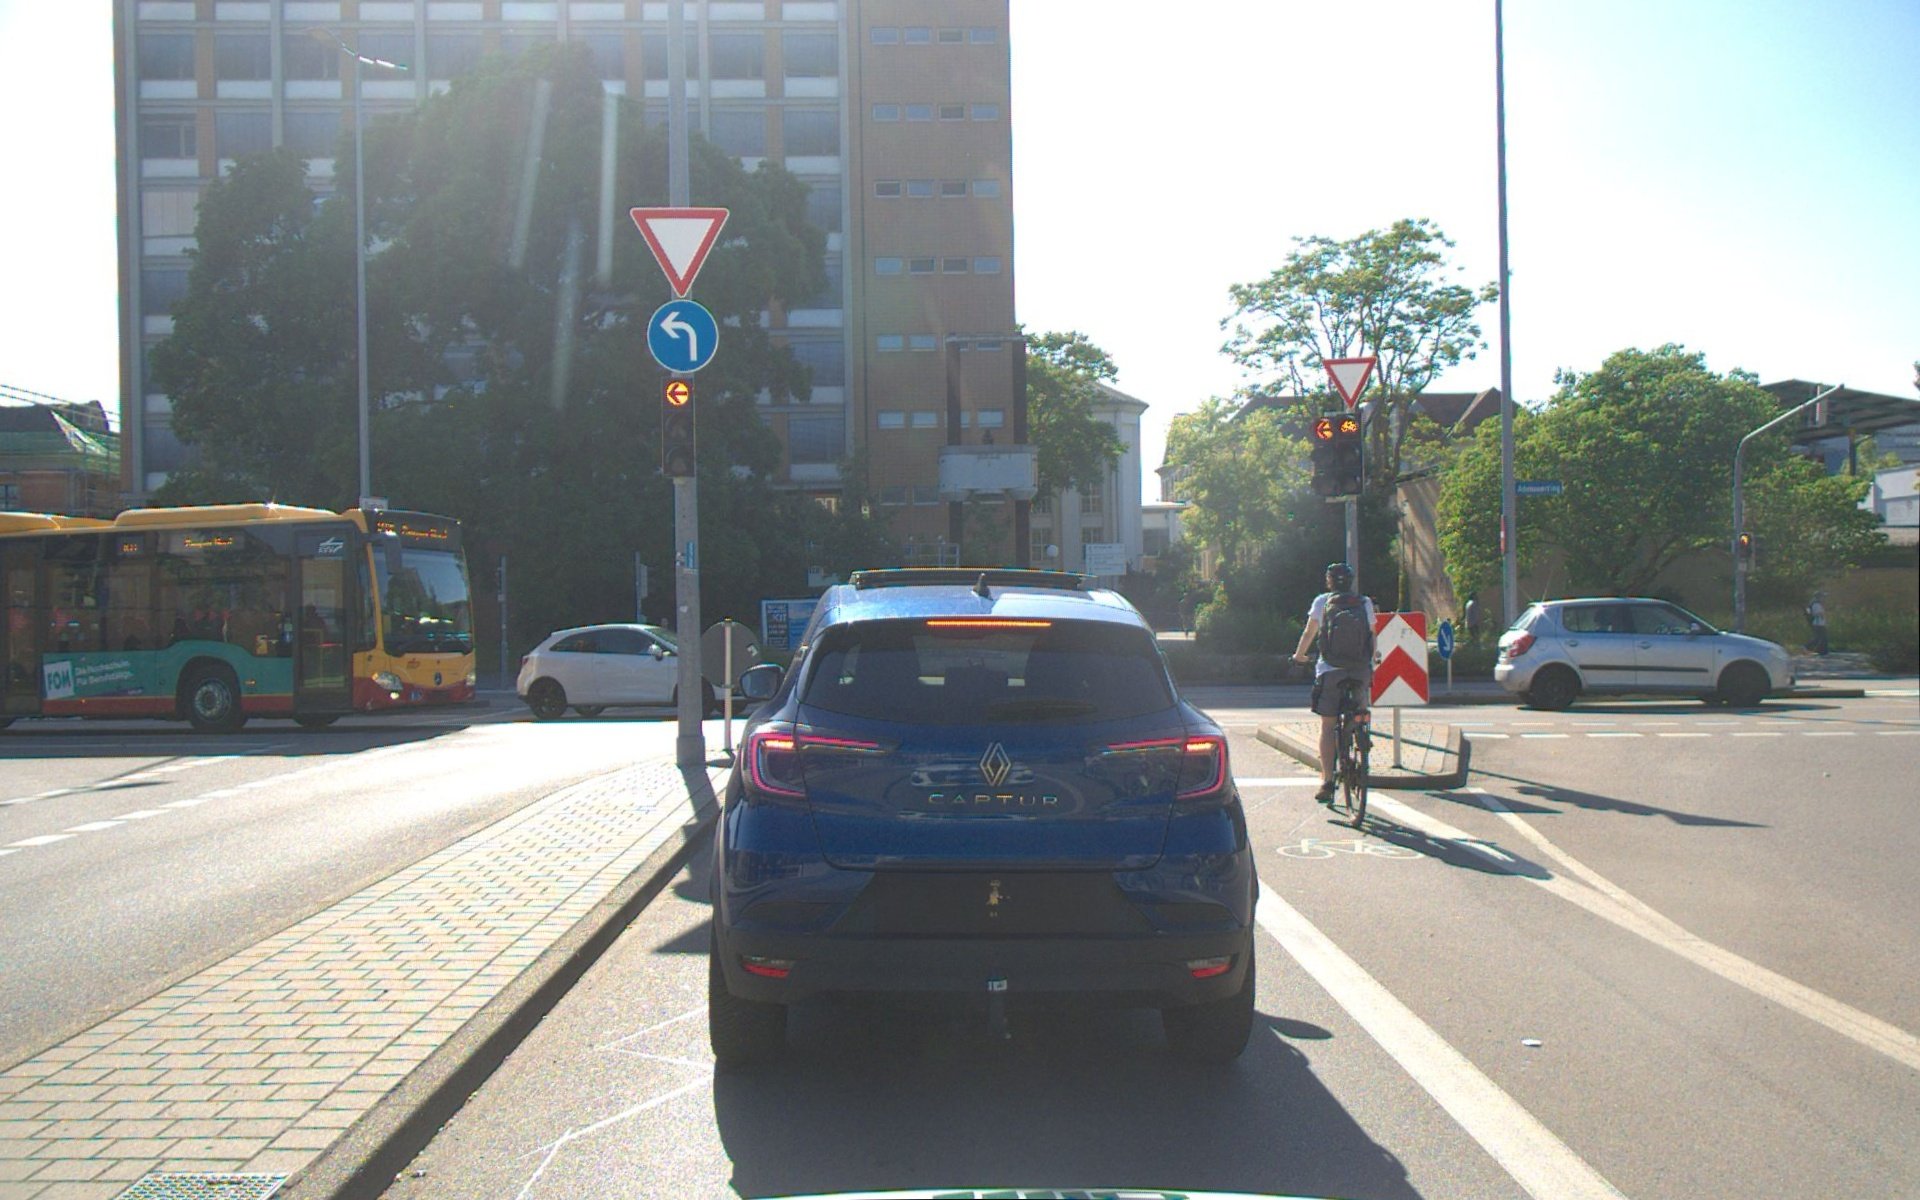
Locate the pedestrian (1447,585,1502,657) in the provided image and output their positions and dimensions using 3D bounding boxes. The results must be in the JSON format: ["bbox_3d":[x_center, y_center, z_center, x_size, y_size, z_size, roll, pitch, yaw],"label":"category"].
[{"bbox_3d":[13.775,0.553,44.338,1.269,1.888,0.967,-1,0,11],"label":"pedestrian"}]

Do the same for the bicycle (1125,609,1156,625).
[{"bbox_3d":[10.854,1.004,99.355,1.735,0.908,0.765,-1,0,-1],"label":"bicycle"}]

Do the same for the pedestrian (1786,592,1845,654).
[{"bbox_3d":[21.662,0.572,41.904,1.062,1.547,0.931,-1,0,9],"label":"pedestrian"}]

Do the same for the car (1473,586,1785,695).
[{"bbox_3d":[9.209,0.582,23.095,3.762,1.428,1.893,0,-3,12],"label":"car"}]

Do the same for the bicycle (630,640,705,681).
[{"bbox_3d":[-7.740,1.602,43.735,1.834,1.025,0.696,-1,-3,-20],"label":"bicycle"}]

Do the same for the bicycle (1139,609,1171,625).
[{"bbox_3d":[11.200,0.974,94.997,1.735,0.914,0.765,-1,0,-1],"label":"bicycle"}]

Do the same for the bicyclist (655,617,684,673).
[{"bbox_3d":[-7.688,1.193,43.790,0.627,1.437,0.645,-1,-3,-19],"label":"bicyclist"}]

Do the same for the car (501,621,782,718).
[{"bbox_3d":[-4.922,1.067,25.788,3.901,1.397,1.761,-1,0,11],"label":"car"}]

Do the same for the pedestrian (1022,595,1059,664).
[{"bbox_3d":[2.253,0.822,46.069,0.912,1.888,0.808,-1,0,8],"label":"pedestrian"}]

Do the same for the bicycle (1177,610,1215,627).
[{"bbox_3d":[11.857,0.923,83.206,1.739,0.837,0.763,-1,0,-11],"label":"bicycle"}]

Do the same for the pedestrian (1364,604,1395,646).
[{"bbox_3d":[16.556,0.975,65.292,0.917,1.641,1.175,-1,0,-1],"label":"pedestrian"}]

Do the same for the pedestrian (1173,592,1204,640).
[{"bbox_3d":[9.978,0.705,72.286,1.132,2.049,1.164,-1,0,-1],"label":"pedestrian"}]

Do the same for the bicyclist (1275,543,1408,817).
[{"bbox_3d":[2.638,0.539,11.513,0.663,1.816,0.939,1,-1,-2],"label":"bicyclist"}]

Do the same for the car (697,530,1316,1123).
[{"bbox_3d":[0.083,0.643,6.656,1.758,1.684,3.852,1,0,-2],"label":"car"}]

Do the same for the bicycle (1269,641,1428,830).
[{"bbox_3d":[2.650,0.887,11.473,0.602,1.158,1.825,0,0,-2],"label":"bicycle"}]

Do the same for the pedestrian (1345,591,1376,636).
[{"bbox_3d":[15.965,0.545,65.972,0.933,1.772,0.984,-1,0,-1],"label":"pedestrian"}]

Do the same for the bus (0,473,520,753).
[{"bbox_3d":[-12.854,0.269,24.541,12.158,3.633,3.252,-1,0,14],"label":"bus"}]
